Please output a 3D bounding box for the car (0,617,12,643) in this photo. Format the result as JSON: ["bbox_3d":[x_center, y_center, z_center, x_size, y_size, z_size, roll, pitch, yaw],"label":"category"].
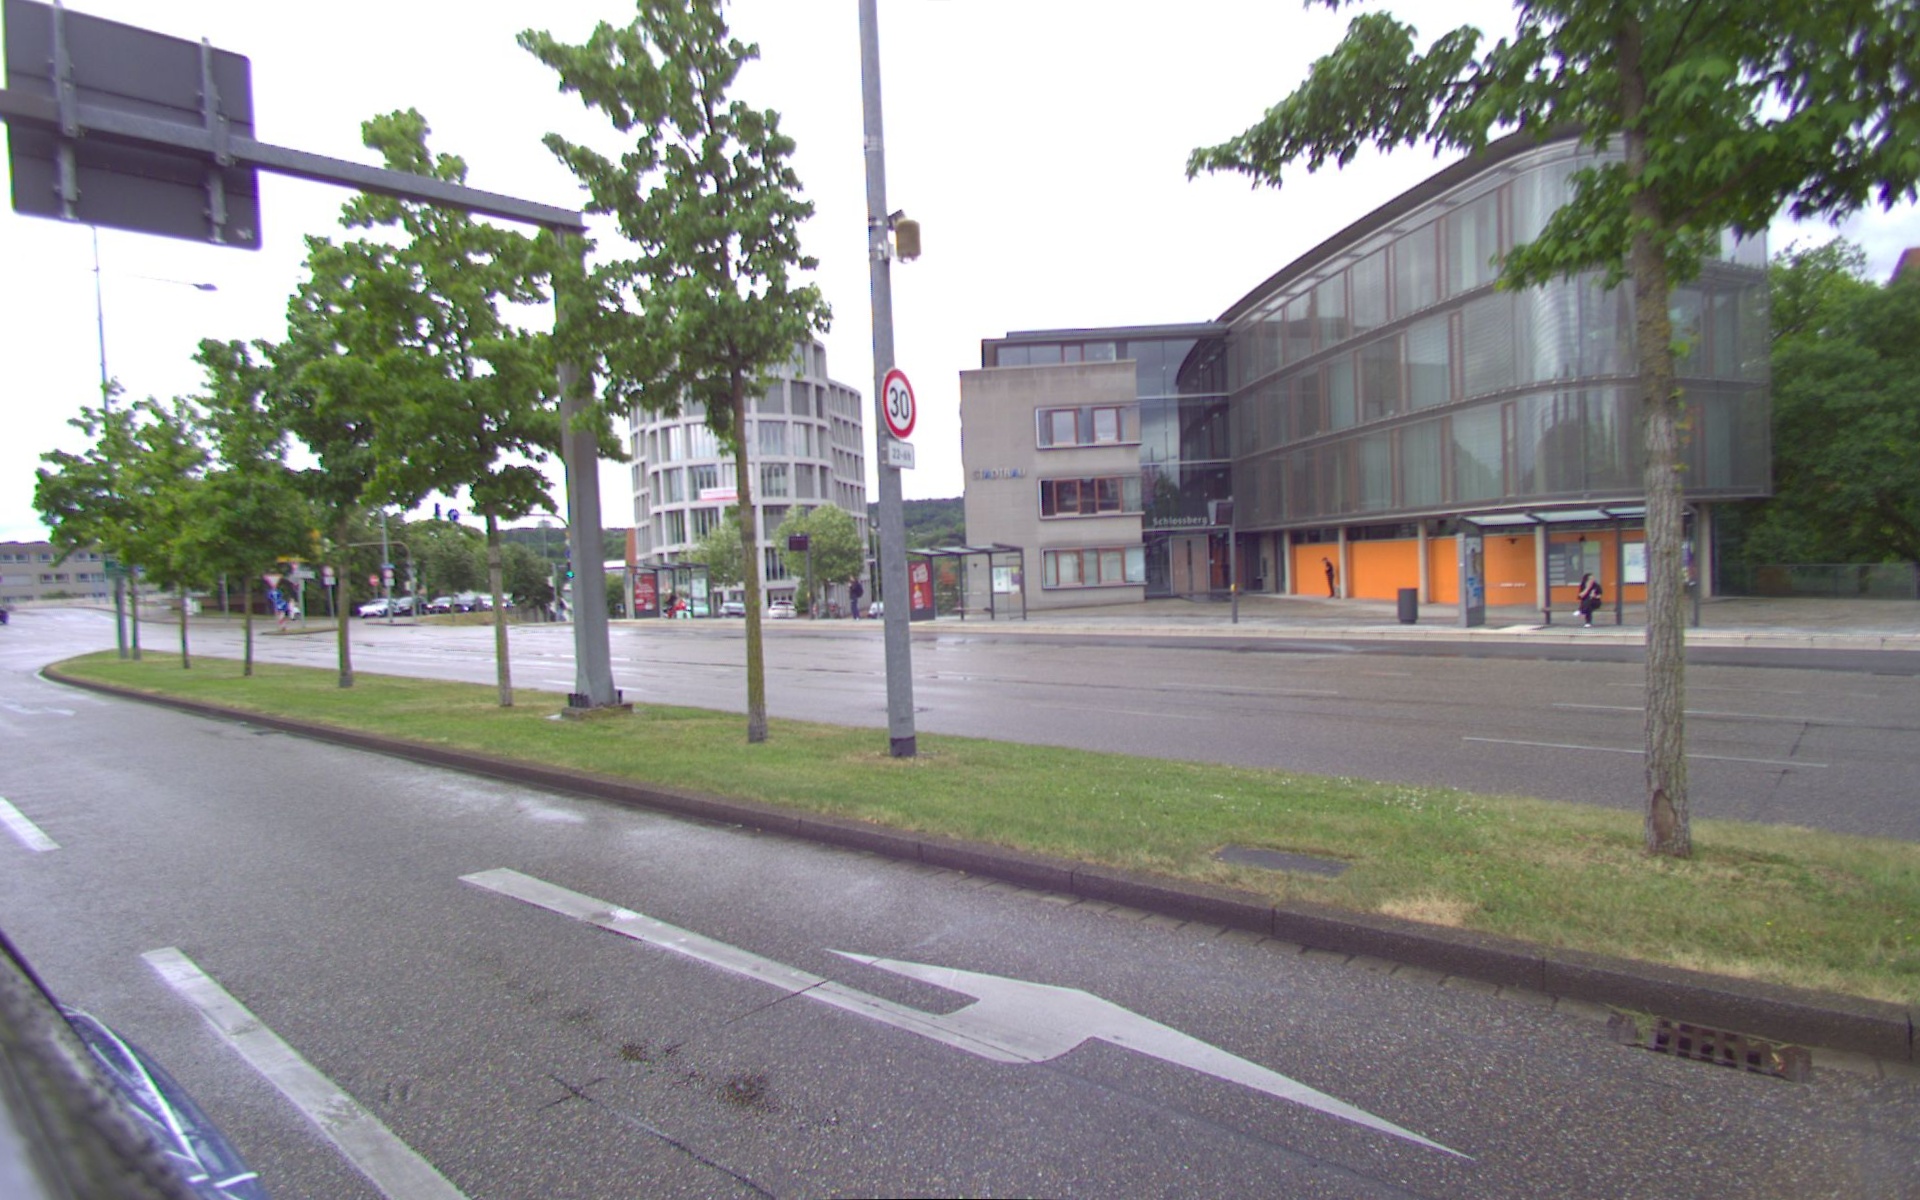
[{"bbox_3d":[-68.992,2.157,71.901,3.998,1.789,1.973,-1,0,41],"label":"car"}]

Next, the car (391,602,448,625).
[{"bbox_3d":[-44.082,1.089,82.638,2.164,1.725,4.919,-2,0,-3],"label":"car"}]

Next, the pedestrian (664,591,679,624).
[{"bbox_3d":[-14.494,0.390,50.847,0.535,1.647,0.514,-1,0,41],"label":"pedestrian"}]

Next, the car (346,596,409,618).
[{"bbox_3d":[-57.858,0.692,100.623,4.963,2.029,2.311,-2,0,0],"label":"car"}]

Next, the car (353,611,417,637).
[{"bbox_3d":[-43.421,1.797,76.576,2.164,1.725,4.919,-2,0,-3],"label":"car"}]

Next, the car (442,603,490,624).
[{"bbox_3d":[-45.223,1.201,92.822,2.164,1.725,4.920,-2,0,-3],"label":"car"}]

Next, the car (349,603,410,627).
[{"bbox_3d":[-46.510,1.159,81.210,2.164,1.725,4.919,-2,0,-2],"label":"car"}]

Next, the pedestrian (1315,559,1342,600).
[{"bbox_3d":[15.245,-0.854,41.879,0.697,1.666,0.852,-1,0,-6],"label":"pedestrian"}]

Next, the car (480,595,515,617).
[{"bbox_3d":[-45.713,0.603,100.040,1.969,2.029,4.005,-1,-1,-6],"label":"car"}]

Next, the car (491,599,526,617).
[{"bbox_3d":[-47.510,0.857,106.509,2.161,1.725,4.926,-2,0,-38],"label":"car"}]

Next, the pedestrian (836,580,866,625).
[{"bbox_3d":[-4.394,0.082,40.928,0.964,1.773,0.783,-1,0,12],"label":"pedestrian"}]

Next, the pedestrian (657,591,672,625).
[{"bbox_3d":[-14.665,0.395,50.279,0.501,1.647,0.497,-1,0,41],"label":"pedestrian"}]

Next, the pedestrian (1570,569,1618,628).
[{"bbox_3d":[14.672,-0.040,23.426,0.790,1.334,0.793,-2,0,42],"label":"pedestrian"}]
